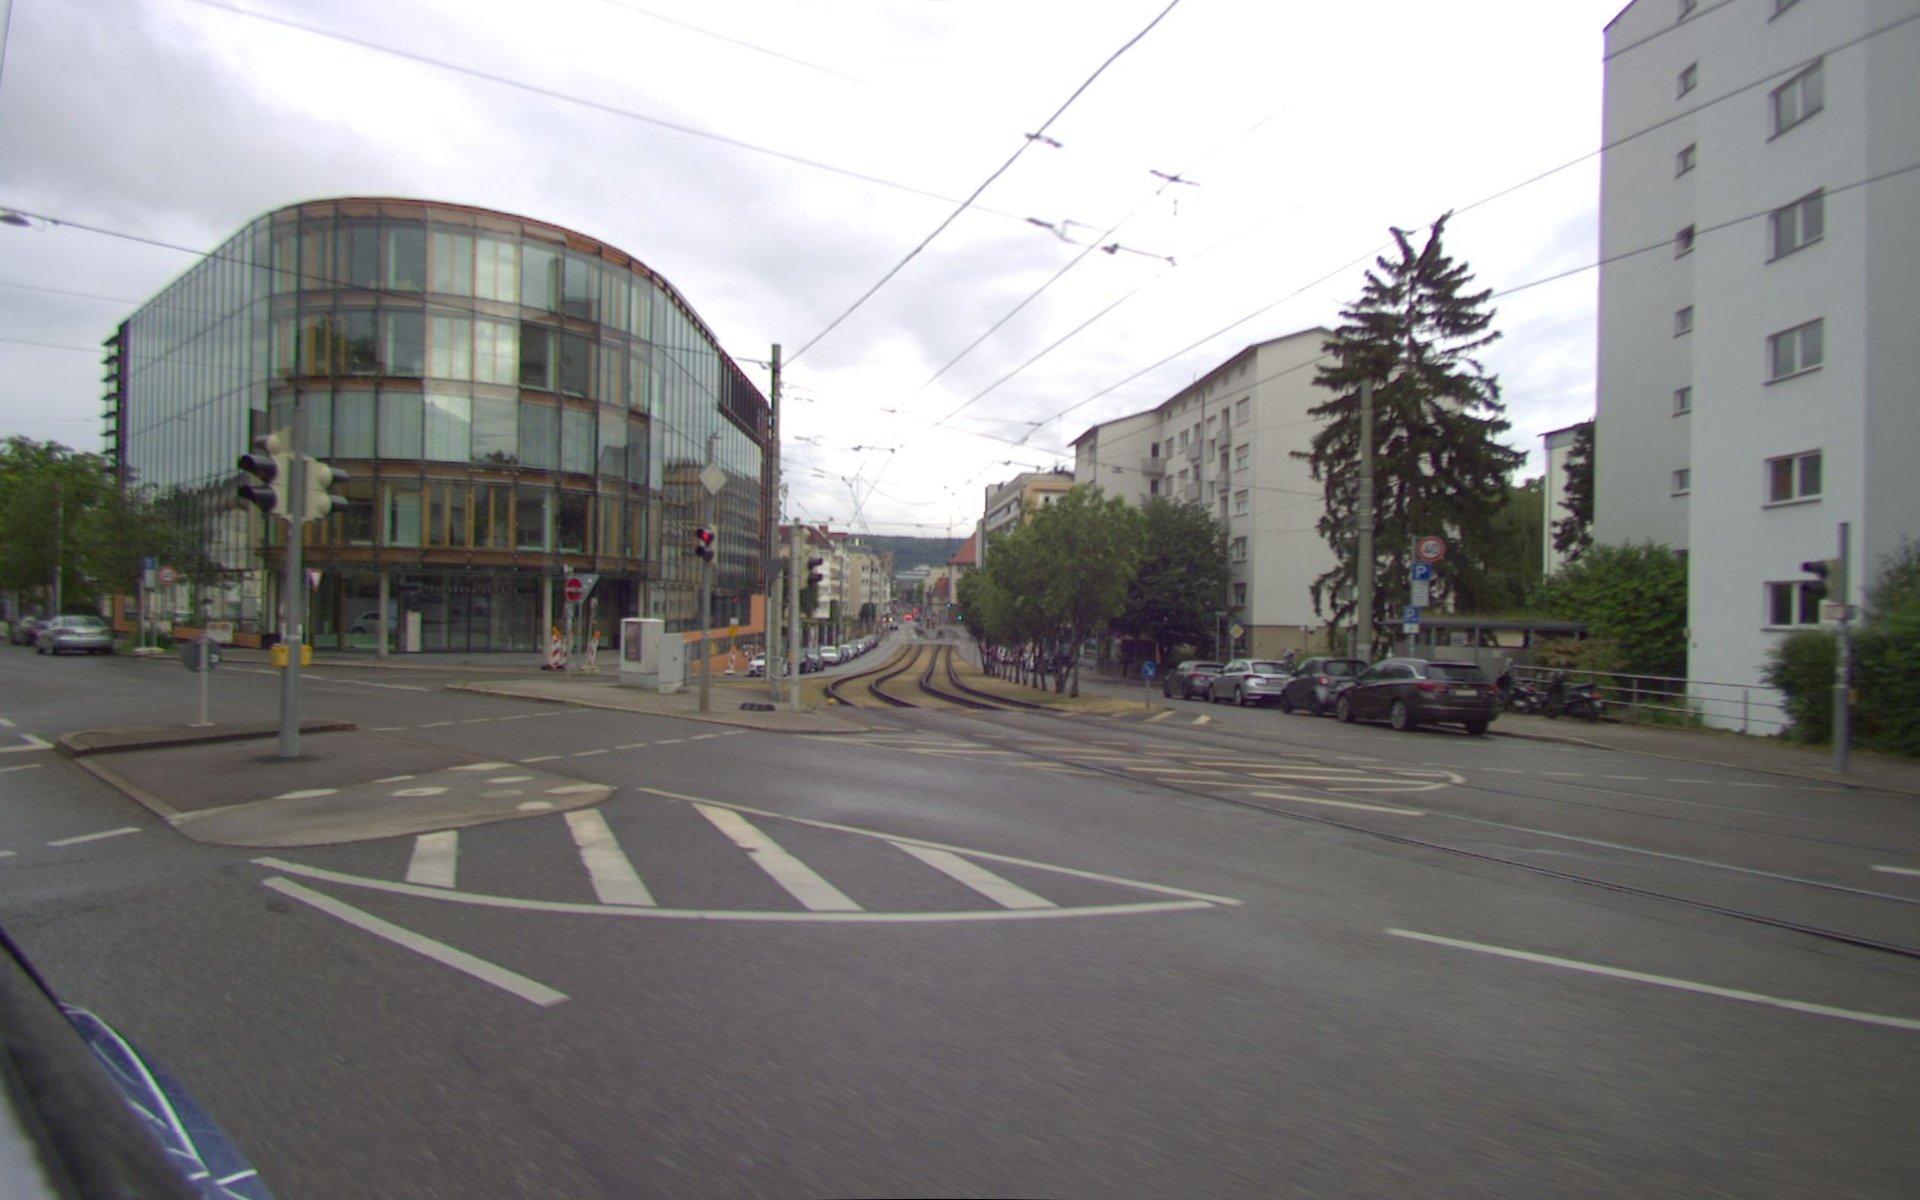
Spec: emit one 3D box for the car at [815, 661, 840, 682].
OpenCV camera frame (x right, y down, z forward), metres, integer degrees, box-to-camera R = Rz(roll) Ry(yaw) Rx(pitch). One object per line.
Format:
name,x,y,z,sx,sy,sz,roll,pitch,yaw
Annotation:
car,-11.490,6.174,87.895,1.764,1.520,4.001,1,0,-1

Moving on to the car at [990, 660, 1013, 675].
car,4.473,7.330,109.526,1.970,1.520,4.704,0,-6,-4

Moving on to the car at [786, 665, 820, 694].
car,-11.392,5.741,73.549,1.890,1.763,4.001,1,0,-1

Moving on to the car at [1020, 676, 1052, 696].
car,6.059,6.924,81.286,1.970,1.520,4.314,0,-6,-4

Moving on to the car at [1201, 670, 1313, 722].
car,9.233,2.965,31.877,1.970,1.520,4.315,0,-4,-4

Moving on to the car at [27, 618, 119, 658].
car,-33.069,1.398,37.678,4.641,1.405,1.839,-1,-3,40

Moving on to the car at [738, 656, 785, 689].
car,-11.135,4.057,57.033,1.890,1.507,4.001,1,0,-1

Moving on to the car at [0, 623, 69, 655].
car,-44.251,1.848,48.282,4.322,1.475,1.707,-1,-3,36

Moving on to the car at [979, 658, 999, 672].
car,3.550,7.926,123.647,1.970,1.520,4.314,0,-6,-4

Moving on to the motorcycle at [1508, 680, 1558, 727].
motorcycle,14.277,2.551,25.266,0.894,0.947,2.216,1,0,25

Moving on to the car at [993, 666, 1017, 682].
car,4.627,7.628,104.000,1.970,1.520,4.314,0,-6,-4

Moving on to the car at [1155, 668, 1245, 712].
car,8.674,3.306,36.963,1.970,1.520,4.314,0,-6,-4

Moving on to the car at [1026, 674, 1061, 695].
car,6.210,6.330,75.666,1.970,1.520,4.314,0,-6,-4

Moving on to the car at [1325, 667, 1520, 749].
car,9.659,2.212,21.578,1.846,1.472,4.495,2,-4,-4

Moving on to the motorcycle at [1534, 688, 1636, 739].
motorcycle,13.920,2.509,22.622,0.767,0.947,2.237,-1,-2,-3

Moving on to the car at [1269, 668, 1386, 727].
car,9.389,2.473,26.098,1.783,1.403,2.895,1,-4,-4

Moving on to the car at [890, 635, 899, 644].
car,-14.904,8.957,229.271,1.890,1.763,4.001,1,0,-1
